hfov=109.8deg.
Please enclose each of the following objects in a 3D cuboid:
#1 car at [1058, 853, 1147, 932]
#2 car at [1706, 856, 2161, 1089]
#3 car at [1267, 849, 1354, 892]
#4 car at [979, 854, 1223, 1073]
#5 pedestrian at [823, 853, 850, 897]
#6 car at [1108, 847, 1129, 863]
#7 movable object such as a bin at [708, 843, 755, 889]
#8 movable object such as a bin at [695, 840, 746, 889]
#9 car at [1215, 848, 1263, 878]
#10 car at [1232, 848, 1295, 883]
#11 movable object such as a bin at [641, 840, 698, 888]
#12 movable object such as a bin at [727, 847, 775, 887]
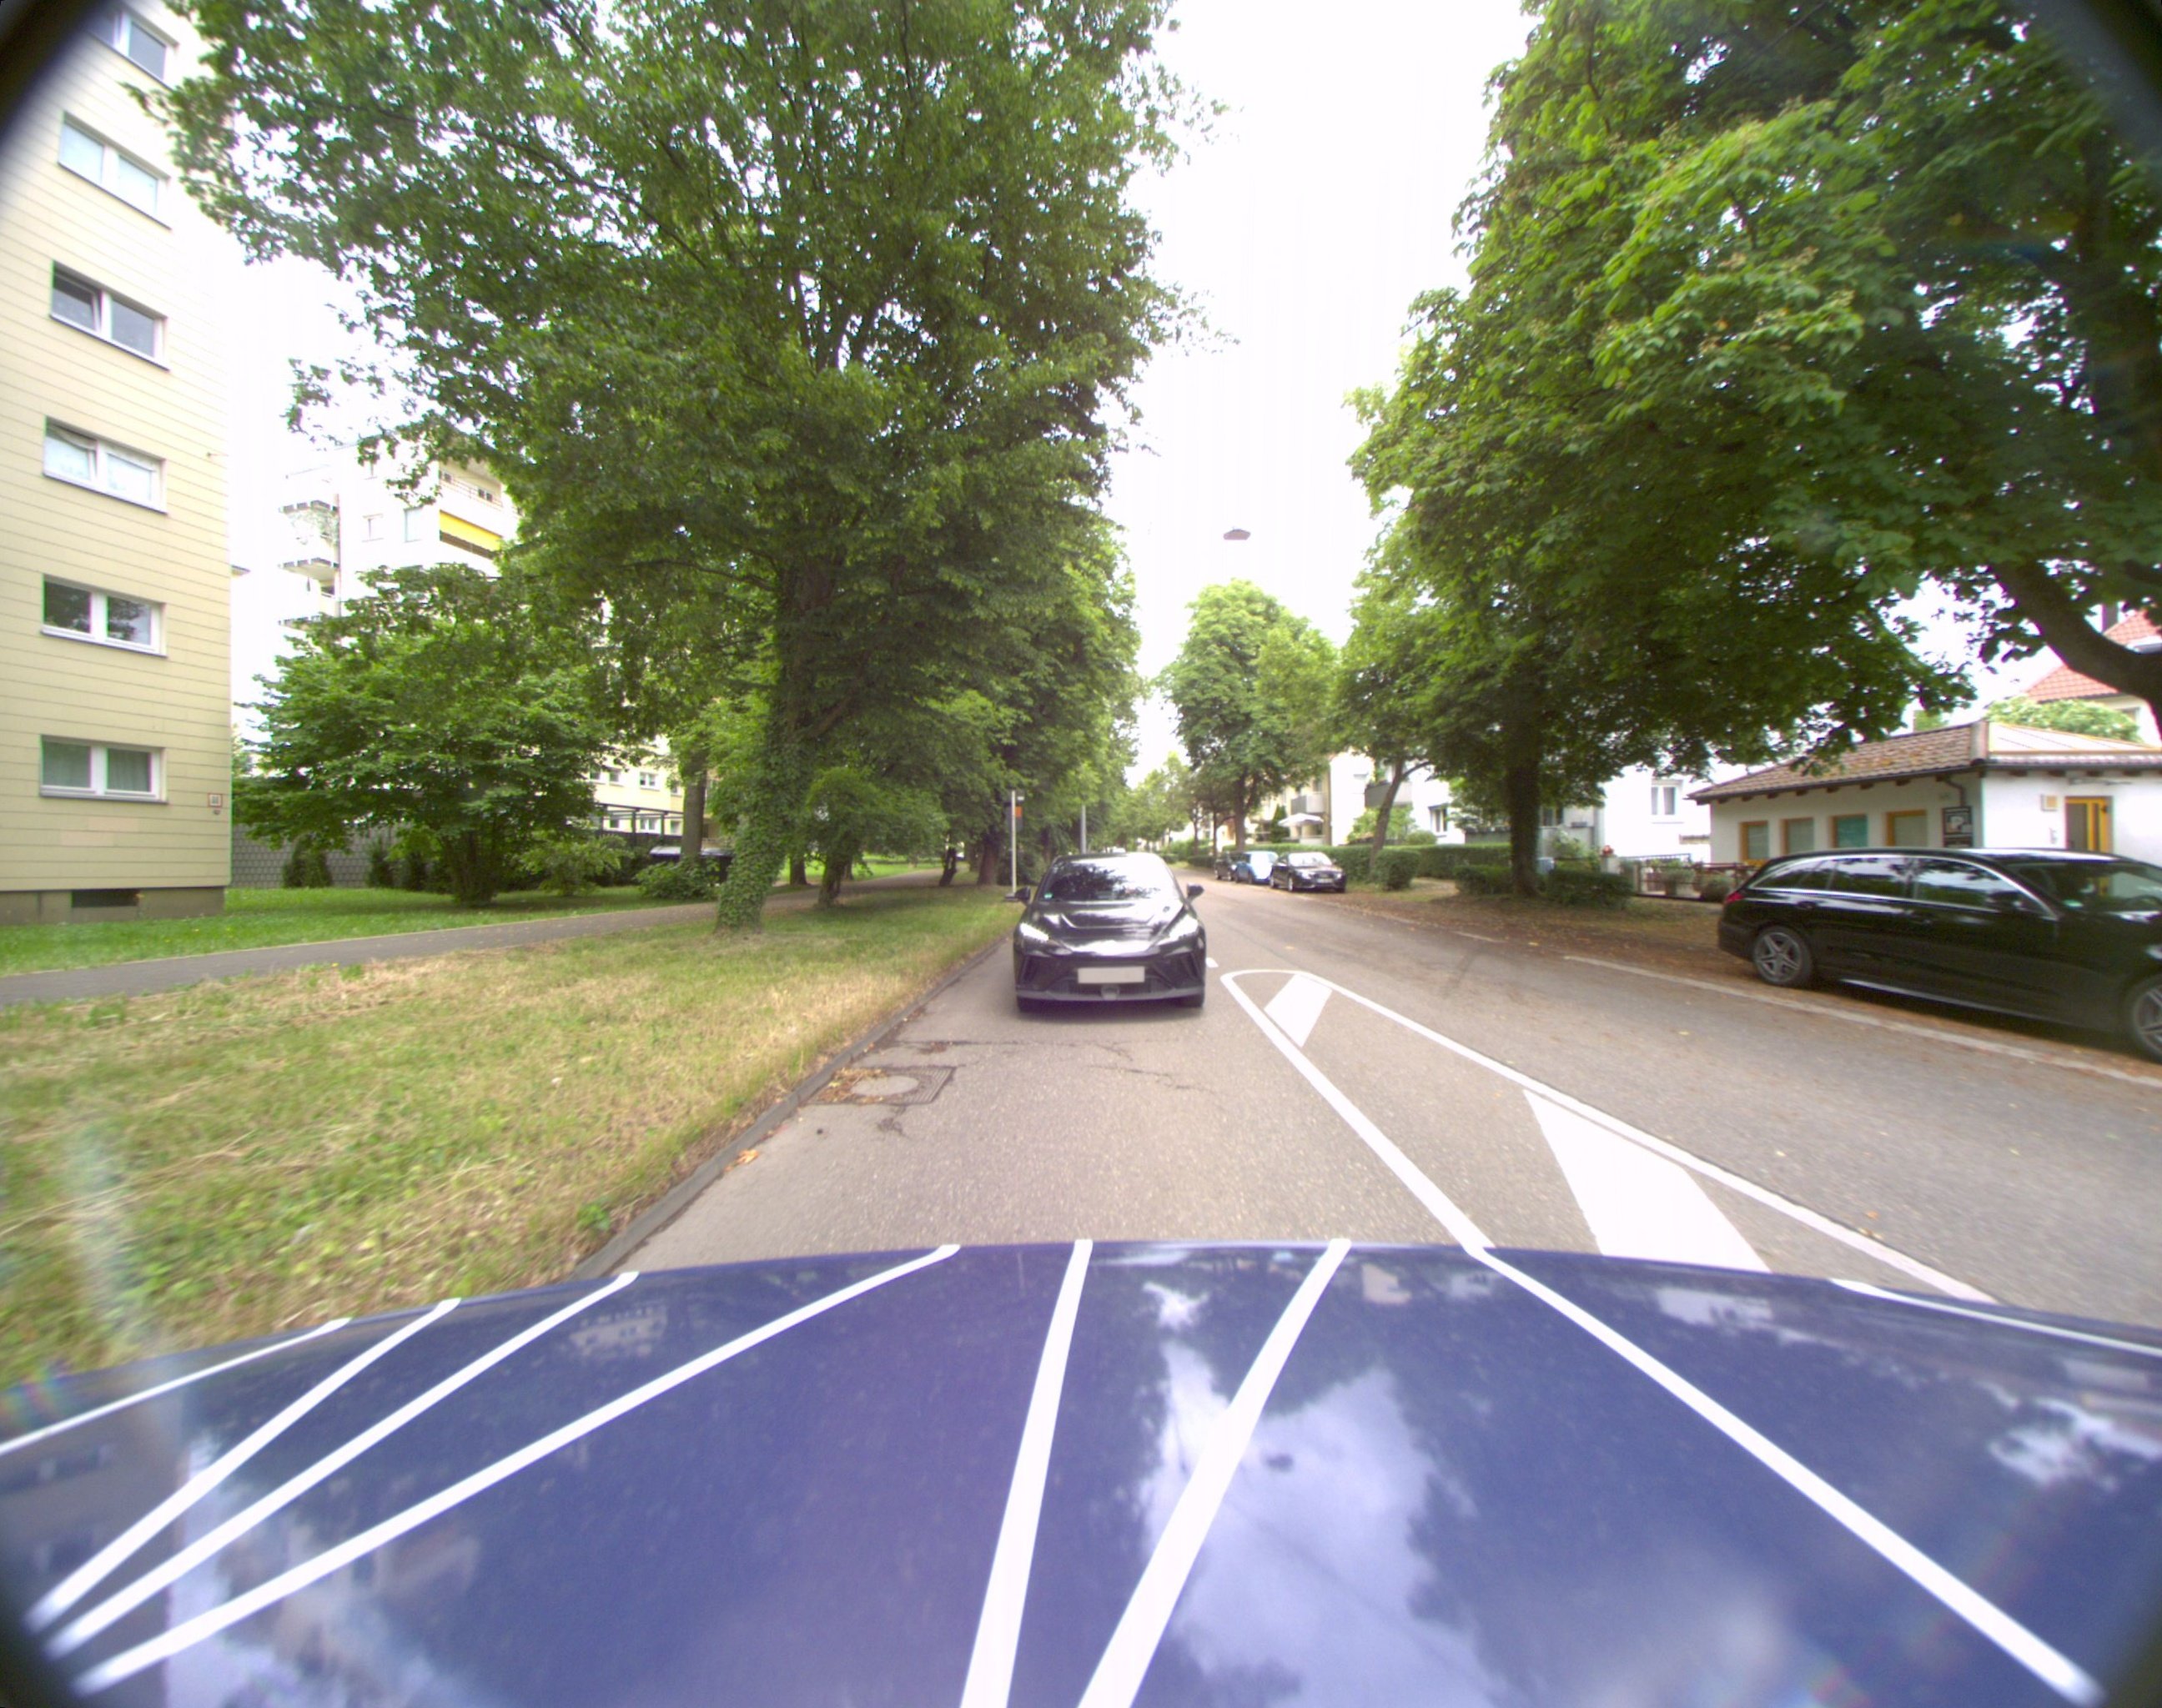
[{"bbox_3d":[0.511,0.787,17.488,1.814,1.521,3.999,0,2,2],"label":"car"},{"bbox_3d":[7.838,0.772,6.190,1.749,1.442,4.593,0,1,1],"label":"car"},{"bbox_3d":[7.978,0.540,26.834,1.852,1.368,4.594,0,0,3],"label":"car"},{"bbox_3d":[0.321,0.825,7.826,1.803,1.542,4.299,-1,1,5],"label":"car"},{"bbox_3d":[-7.808,0.674,24.253,0.689,1.373,0.605,0,2,-7],"label":"pedestrian"},{"bbox_3d":[3.696,0.077,75.066,1.998,1.586,4.000,0,1,2],"label":"car"},{"bbox_3d":[-12.752,0.428,27.750,1.240,1.633,1.075,1,2,-3],"label":"movable object such as a bin"},{"bbox_3d":[-12.619,0.358,26.629,1.278,1.633,1.020,1,2,-3],"label":"movable object such as a bin"},{"bbox_3d":[7.616,0.403,36.984,1.540,1.368,3.771,0,0,0],"label":"car"},{"bbox_3d":[7.724,0.466,32.521,1.637,1.368,4.151,0,0,0],"label":"car"},{"bbox_3d":[-14.310,0.331,26.485,1.435,1.633,1.020,1,2,-3],"label":"movable object such as a bin"},{"bbox_3d":[-12.628,0.486,29.085,1.328,1.466,1.201,1,2,-3],"label":"movable object such as a bin"}]
